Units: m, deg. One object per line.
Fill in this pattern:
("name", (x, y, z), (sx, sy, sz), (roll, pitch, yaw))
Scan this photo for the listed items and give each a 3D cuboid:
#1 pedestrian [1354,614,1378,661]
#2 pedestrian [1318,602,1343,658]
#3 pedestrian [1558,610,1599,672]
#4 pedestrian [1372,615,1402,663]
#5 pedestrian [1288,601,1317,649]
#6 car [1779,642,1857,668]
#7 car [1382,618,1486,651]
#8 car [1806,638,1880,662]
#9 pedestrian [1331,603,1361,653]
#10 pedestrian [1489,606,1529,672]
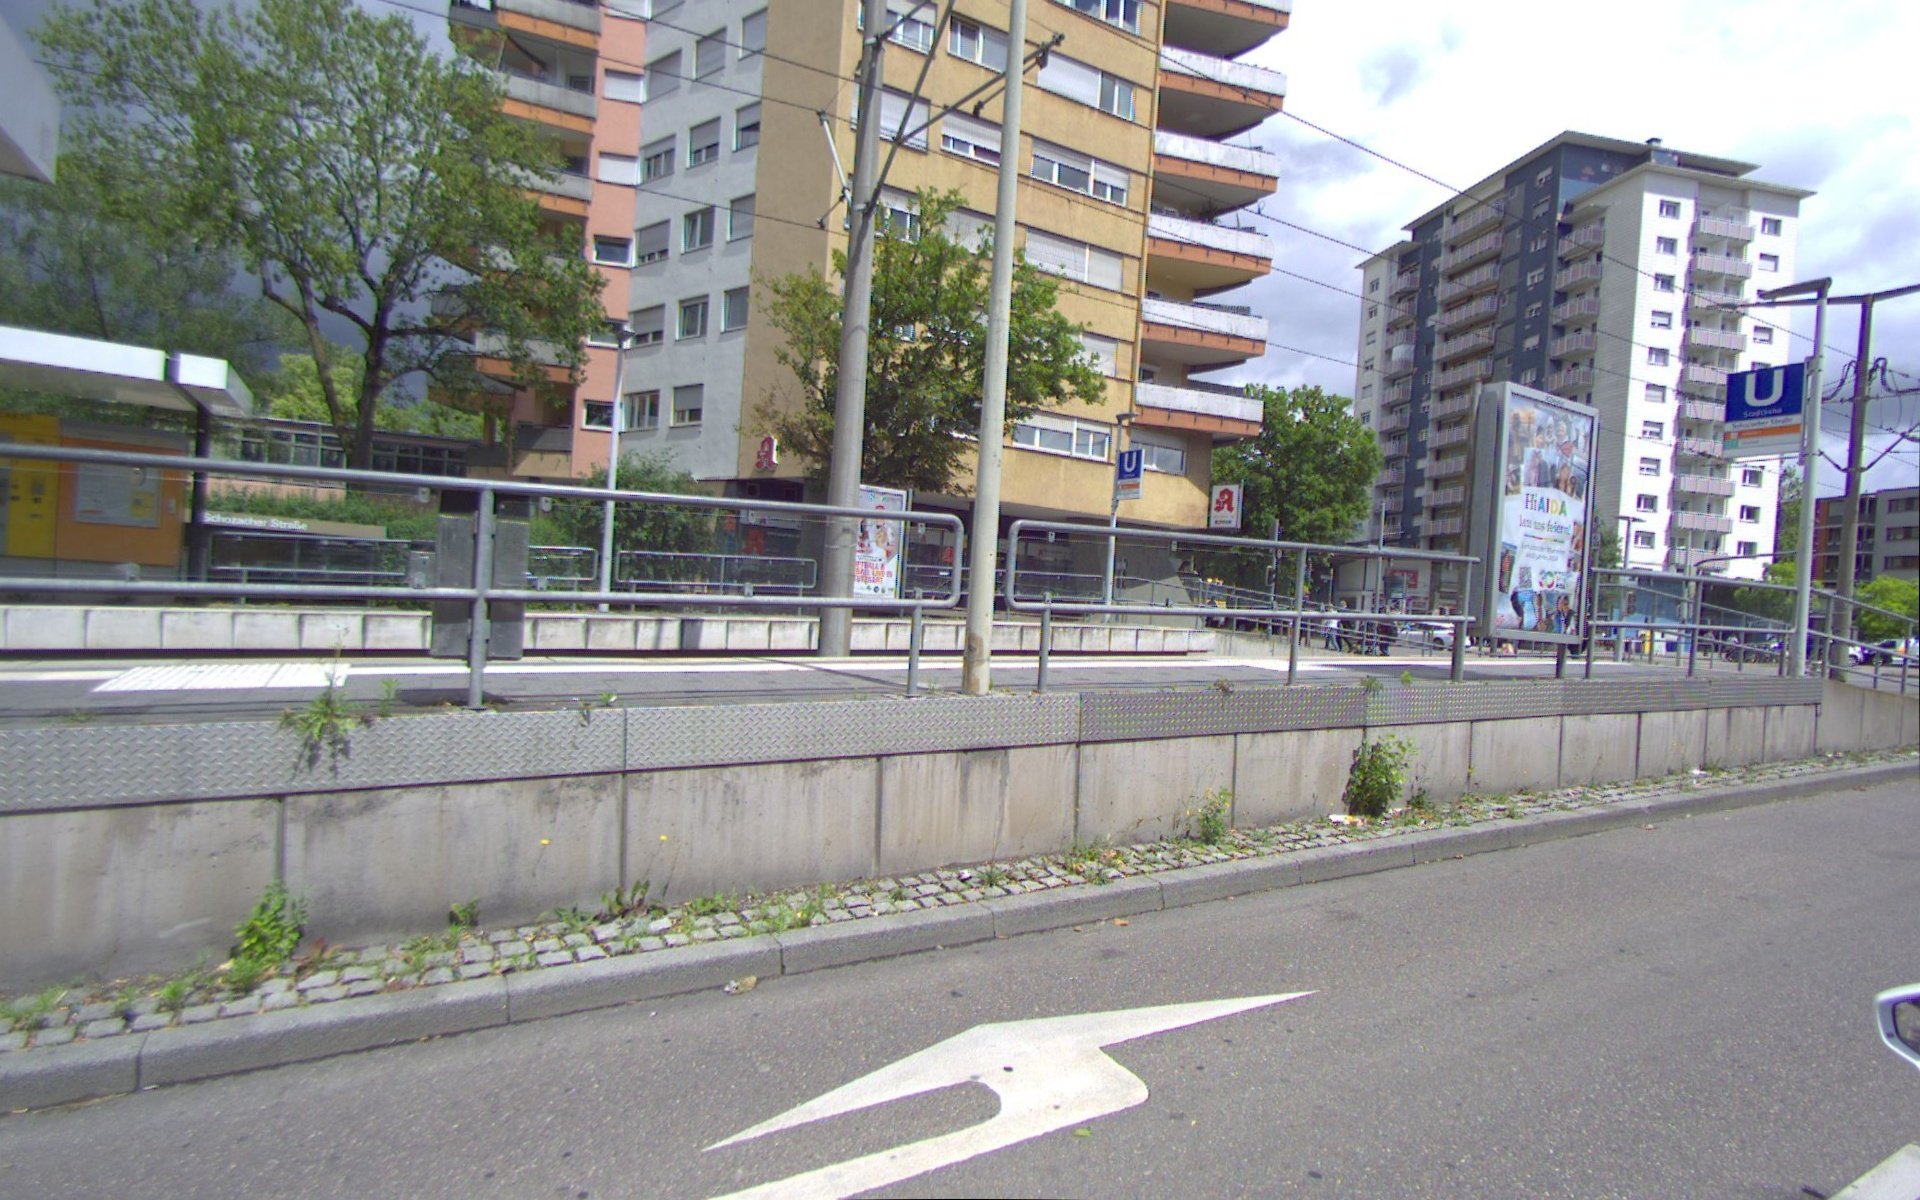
("pedestrian", (12.289, 1.128, 30.419), (0.543, 1.360, 0.669), (2, 0, 12))
("pedestrian", (11.857, 0.954, 32.146), (0.668, 1.729, 0.827), (2, 0, 17))
("pedestrian", (16.627, 1.104, 27.022), (0.692, 1.654, 0.635), (1, -1, -20))
("pedestrian", (12.451, 1.118, 29.304), (0.677, 1.360, 0.859), (2, 0, 30))
("pedestrian", (11.651, 0.842, 34.160), (0.759, 1.604, 0.610), (2, 0, 6))
("car", (55.329, 3.512, 64.797), (1.602, 1.482, 3.576), (2, 0, -37))
("car", (24.781, 1.803, 52.634), (1.929, 1.546, 4.533), (2, -1, -40))
("car", (60.756, 3.438, 69.174), (1.602, 1.482, 3.576), (2, 0, -37))
("pedestrian", (12.737, 0.922, 33.172), (0.611, 1.599, 0.860), (2, 0, 1))
("pedestrian", (14.856, 1.036, 27.194), (0.844, 1.719, 0.688), (2, 0, 26))
